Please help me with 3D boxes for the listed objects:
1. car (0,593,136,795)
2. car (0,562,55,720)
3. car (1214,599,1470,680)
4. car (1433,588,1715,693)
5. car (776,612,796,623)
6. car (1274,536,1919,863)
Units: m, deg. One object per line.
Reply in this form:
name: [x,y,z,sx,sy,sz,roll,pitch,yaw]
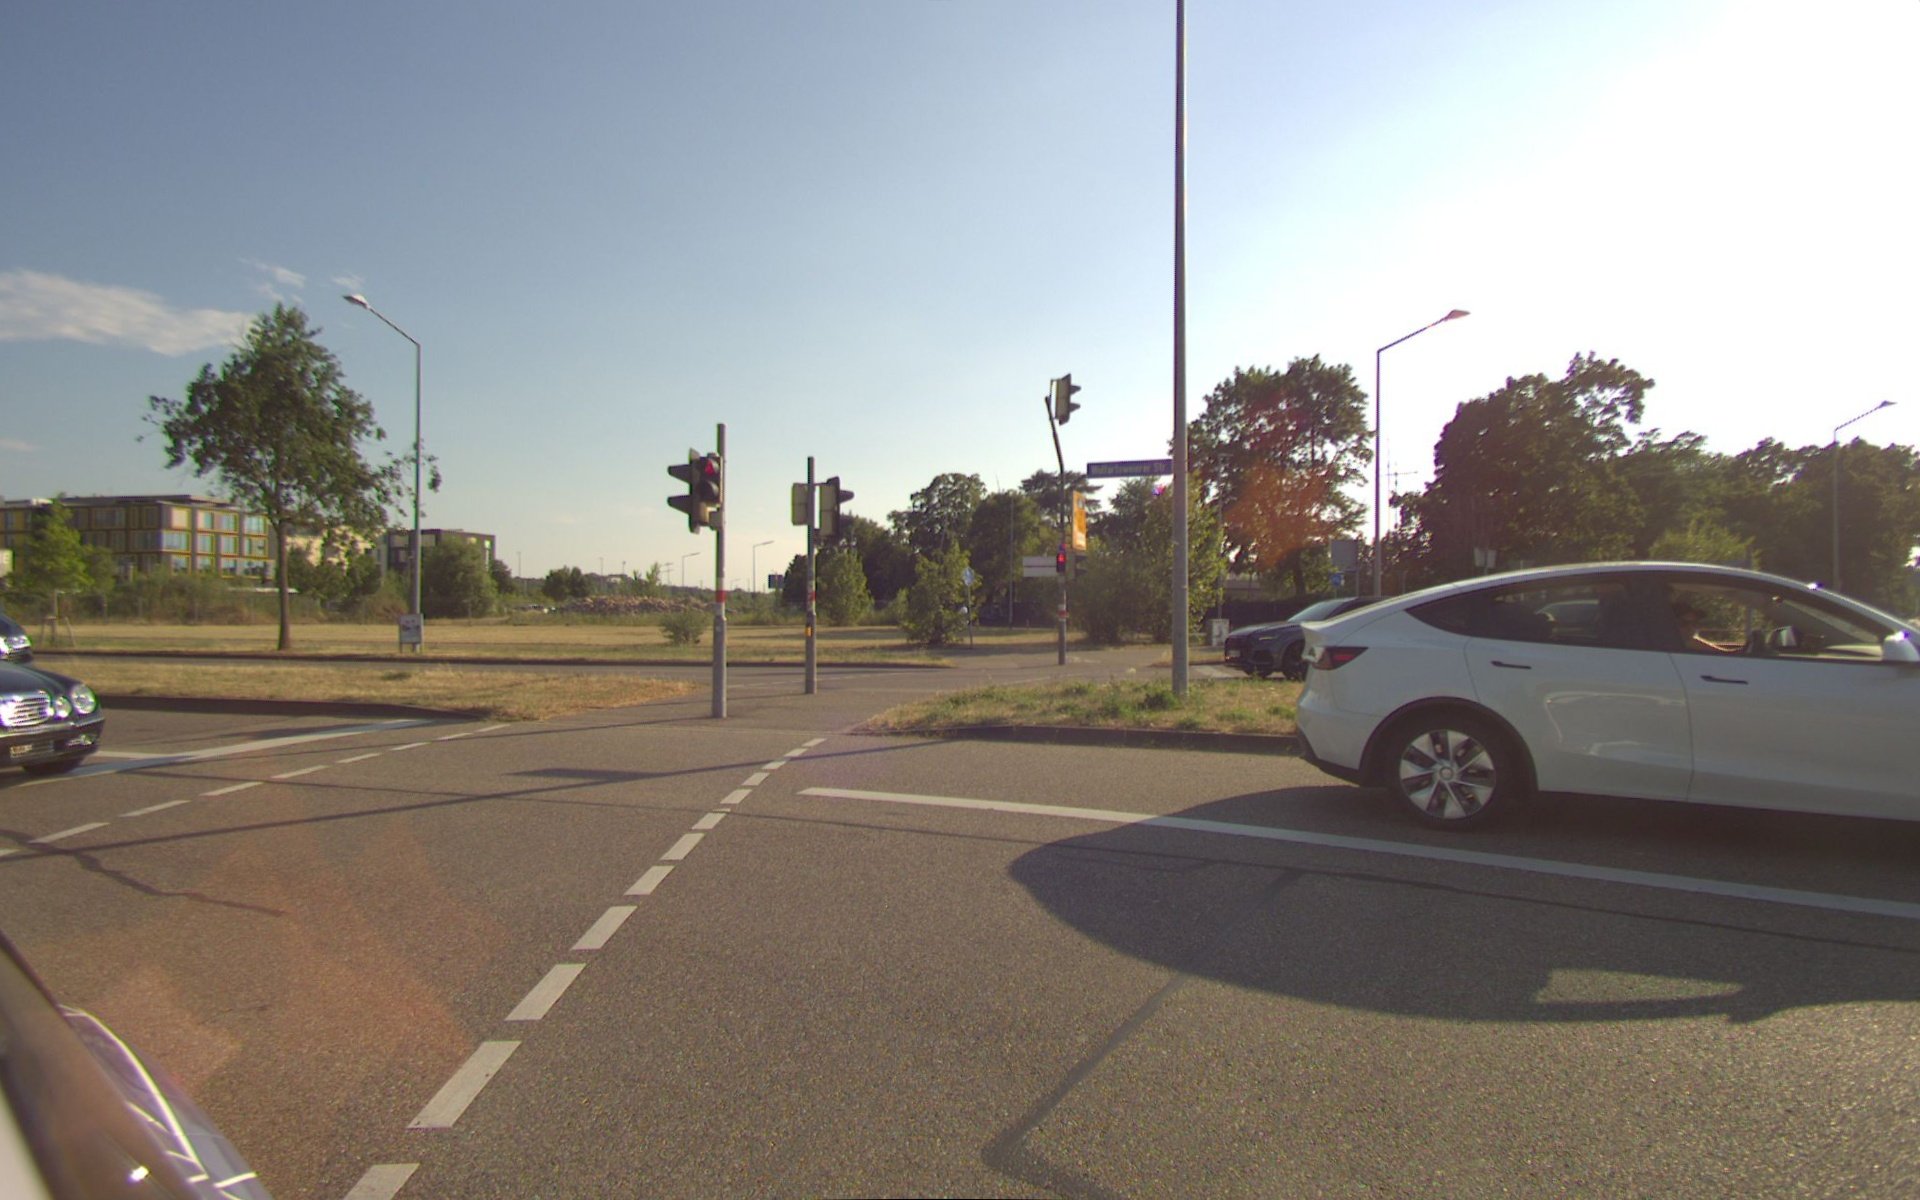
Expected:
car: [-9.072,0.702,7.945,4.452,1.447,1.803,0,1,16]
car: [-14.308,0.503,12.759,4.964,1.946,1.854,0,1,14]
car: [7.617,0.772,20.315,4.569,1.524,1.656,0,-2,-10]
car: [10.665,0.661,17.679,4.129,1.686,1.781,0,-1,-14]
car: [-20.039,2.029,116.572,1.314,1.302,2.812,0,-1,-32]
car: [4.429,0.481,6.099,4.652,1.611,1.725,0,1,26]
